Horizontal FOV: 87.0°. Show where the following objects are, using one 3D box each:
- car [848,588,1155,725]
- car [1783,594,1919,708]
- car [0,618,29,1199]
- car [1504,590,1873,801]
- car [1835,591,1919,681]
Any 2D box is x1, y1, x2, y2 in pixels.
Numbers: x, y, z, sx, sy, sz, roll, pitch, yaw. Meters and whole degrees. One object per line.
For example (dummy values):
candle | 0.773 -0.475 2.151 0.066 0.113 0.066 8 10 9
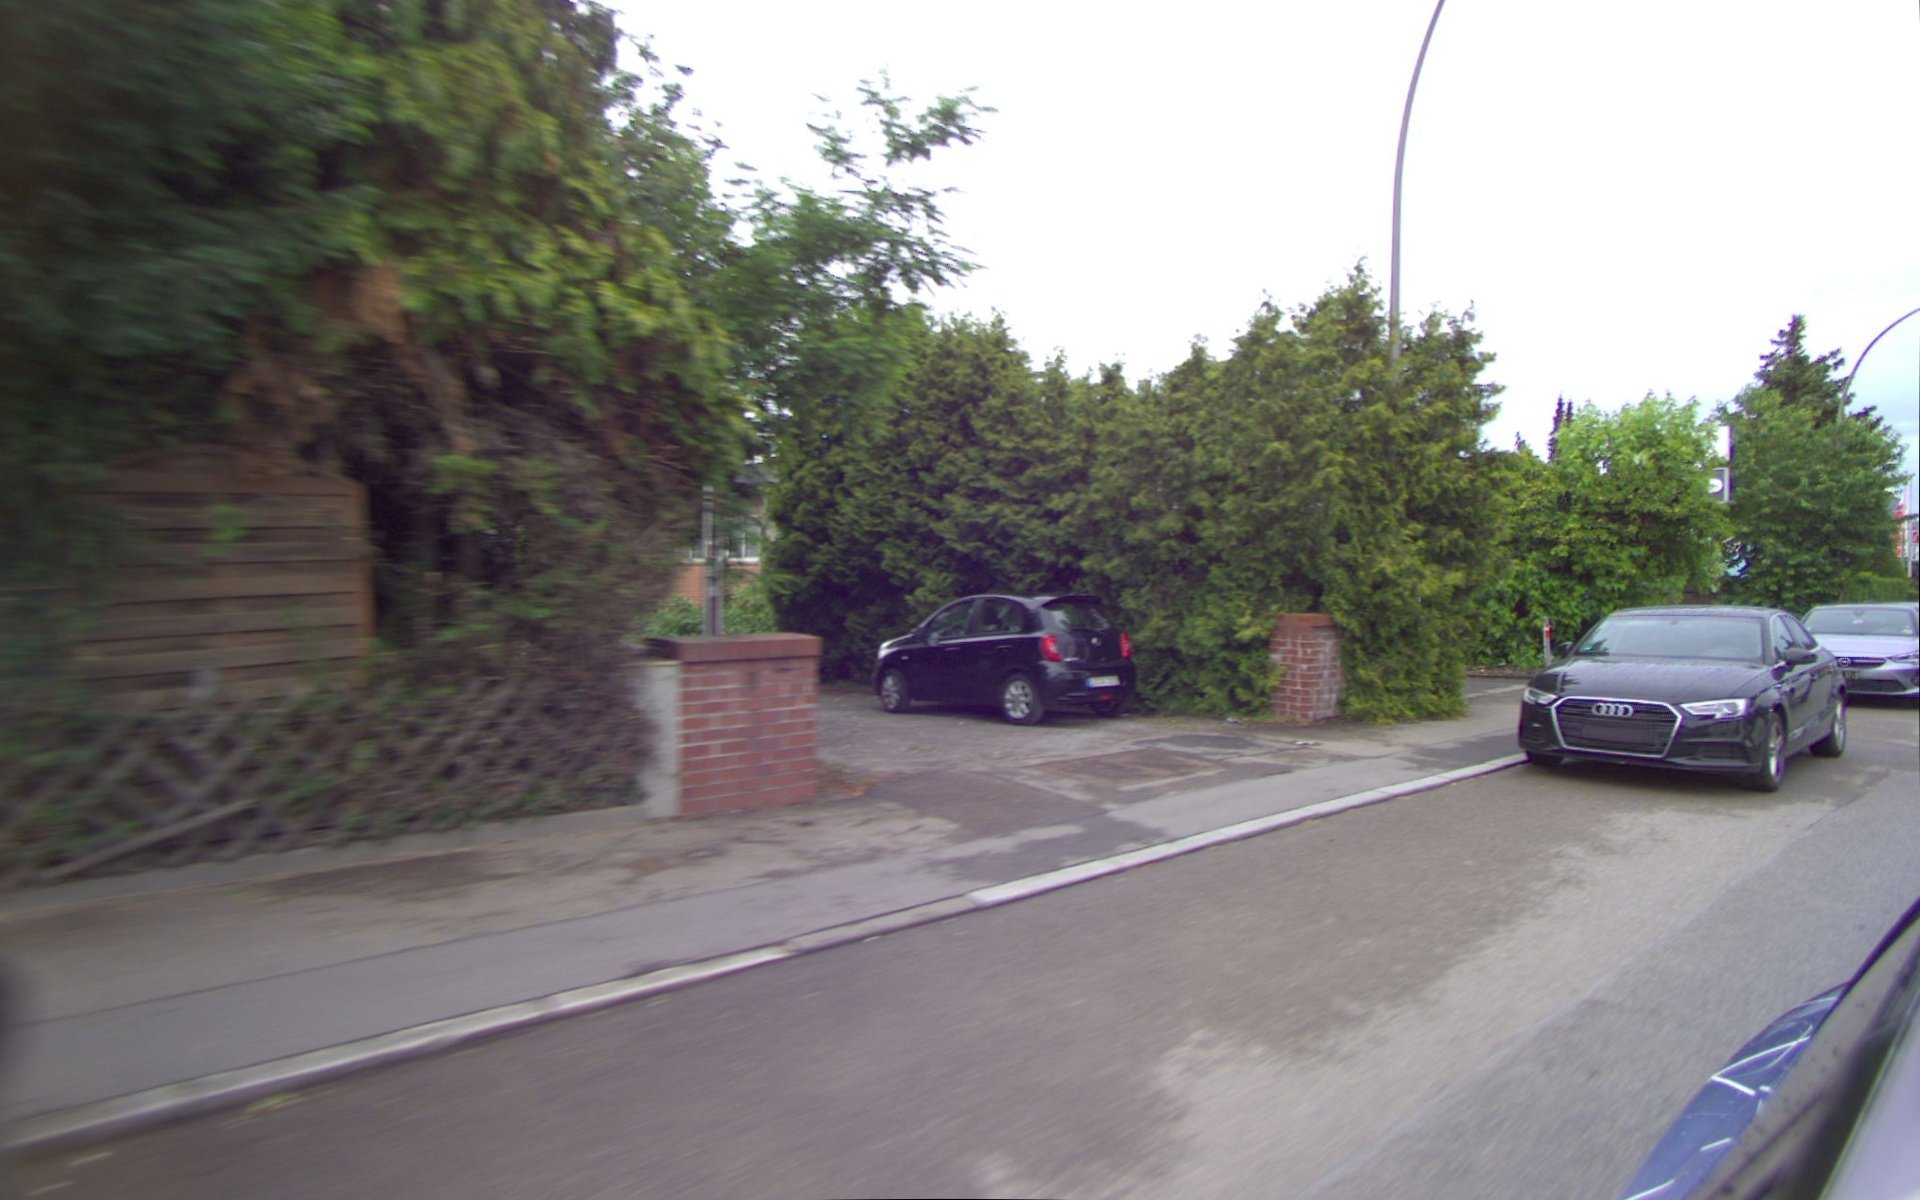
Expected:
car | 0.364 0.656 12.805 1.670 1.448 3.995 0 -2 -38
car | 13.720 0.667 15.117 3.975 1.458 1.654 0 1 -43
car | -3.207 0.748 0.719 3.653 1.421 1.740 0 -1 -40
car | 6.615 0.656 9.033 4.038 1.436 1.755 0 1 -41
car | 17.243 0.588 18.161 4.406 1.458 1.765 0 1 -42
